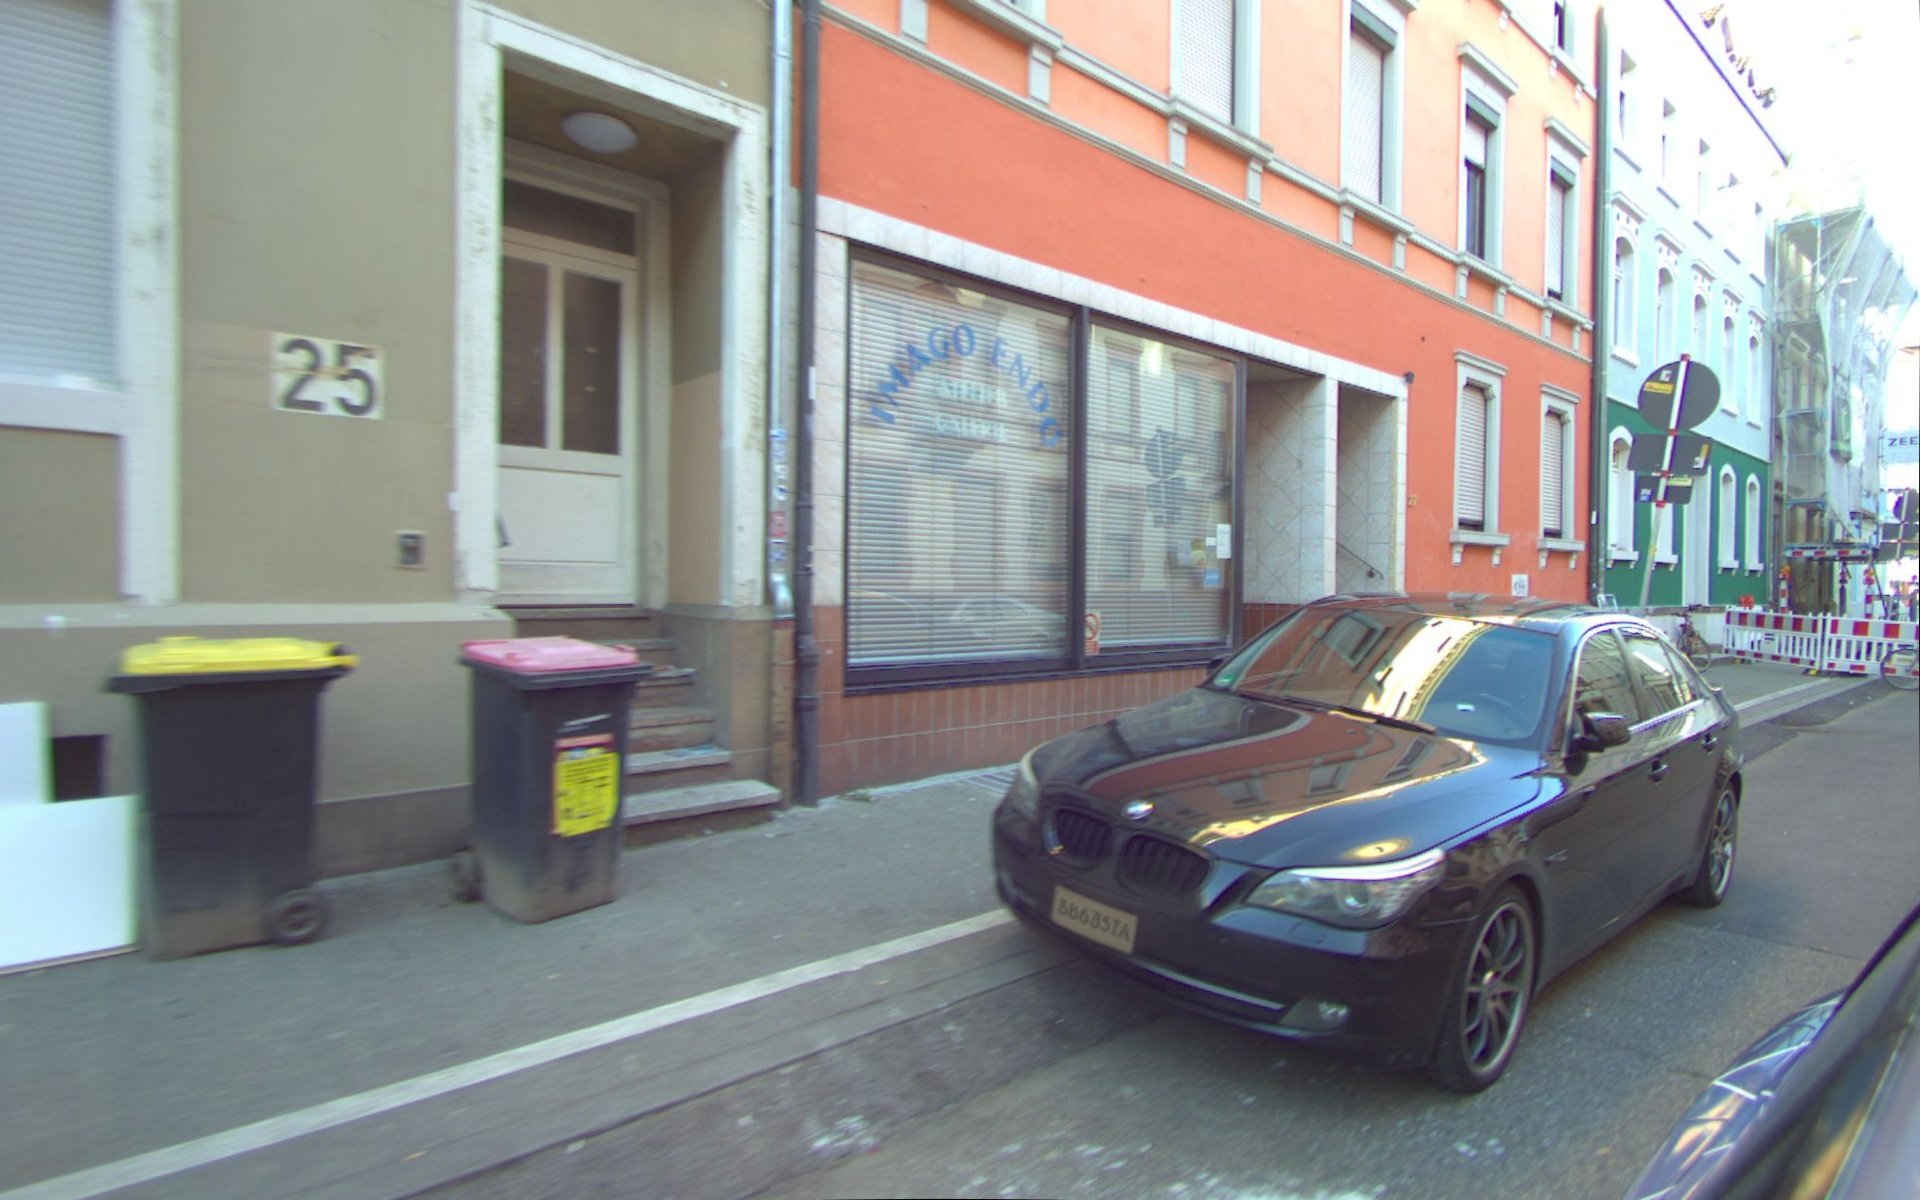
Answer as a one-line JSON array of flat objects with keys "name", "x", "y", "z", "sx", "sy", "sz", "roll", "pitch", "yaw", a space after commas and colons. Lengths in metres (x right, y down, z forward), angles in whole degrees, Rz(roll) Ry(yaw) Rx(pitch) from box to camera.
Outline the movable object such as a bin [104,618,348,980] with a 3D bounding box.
[{"name": "movable object such as a bin", "x": -2.699, "y": 0.649, "z": 3.761, "sx": 0.665, "sy": 1.088, "sz": 0.810, "roll": 0, "pitch": 4, "yaw": -36}]

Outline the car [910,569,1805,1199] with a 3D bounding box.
[{"name": "car", "x": 2.189, "y": 0.630, "z": 4.643, "sx": 4.707, "sy": 1.456, "sz": 1.821, "roll": -1, "pitch": 4, "yaw": -41}]

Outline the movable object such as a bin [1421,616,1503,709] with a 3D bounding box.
[{"name": "movable object such as a bin", "x": 5.519, "y": 0.674, "z": 11.128, "sx": 0.569, "sy": 0.916, "sz": 0.598, "roll": -2, "pitch": 5, "yaw": -42}]

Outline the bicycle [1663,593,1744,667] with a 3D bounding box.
[{"name": "bicycle", "x": 12.865, "y": 0.494, "z": 17.494, "sx": 1.802, "sy": 1.141, "sz": 0.656, "roll": -1, "pitch": 6, "yaw": -41}]

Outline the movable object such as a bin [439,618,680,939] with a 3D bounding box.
[{"name": "movable object such as a bin", "x": -1.650, "y": 0.659, "z": 4.158, "sx": 0.736, "sy": 1.088, "sz": 0.667, "roll": 5, "pitch": 4, "yaw": 43}]

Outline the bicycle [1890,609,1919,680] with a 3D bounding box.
[{"name": "bicycle", "x": 16.158, "y": 0.723, "z": 16.203, "sx": 1.849, "sy": 1.124, "sz": 0.634, "roll": 0, "pitch": 0, "yaw": 43}]
